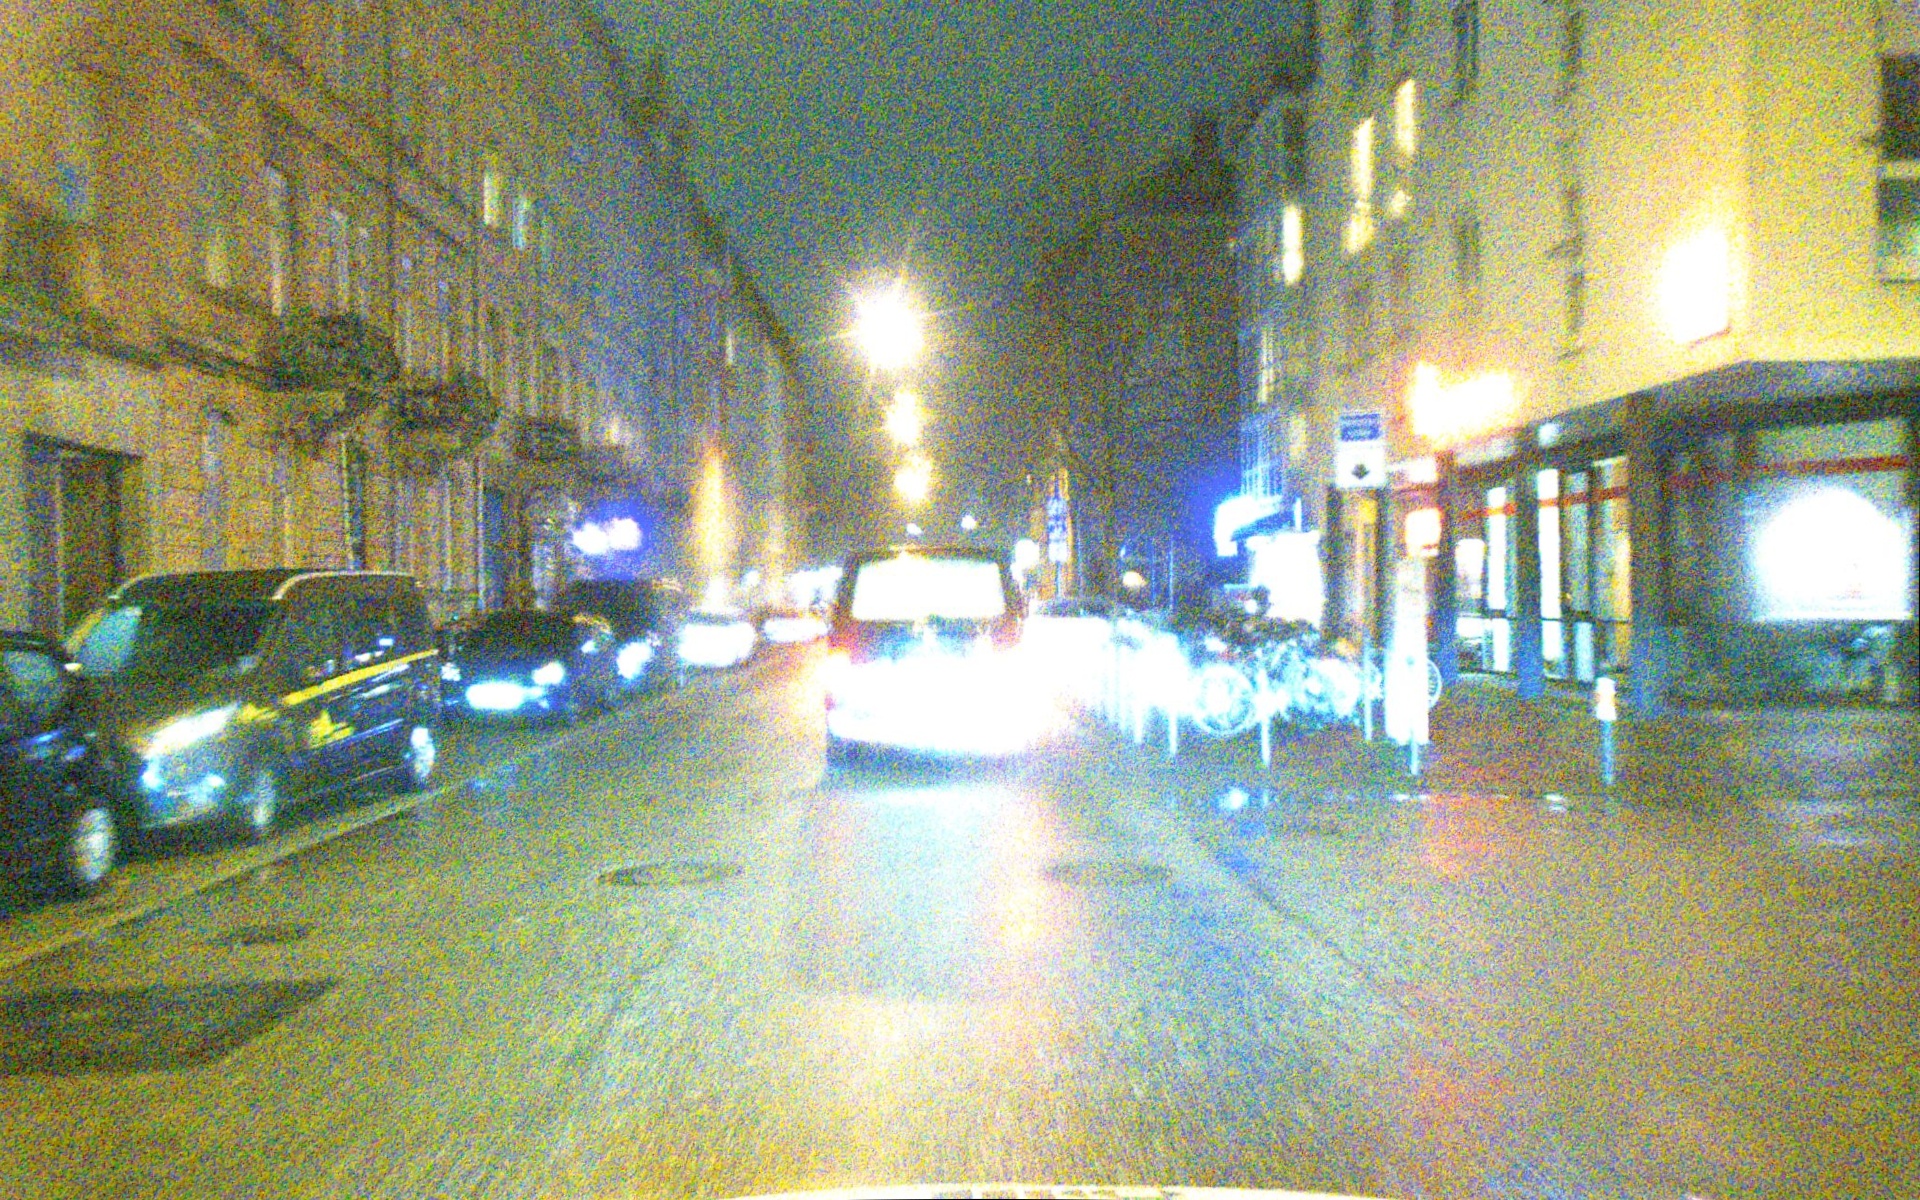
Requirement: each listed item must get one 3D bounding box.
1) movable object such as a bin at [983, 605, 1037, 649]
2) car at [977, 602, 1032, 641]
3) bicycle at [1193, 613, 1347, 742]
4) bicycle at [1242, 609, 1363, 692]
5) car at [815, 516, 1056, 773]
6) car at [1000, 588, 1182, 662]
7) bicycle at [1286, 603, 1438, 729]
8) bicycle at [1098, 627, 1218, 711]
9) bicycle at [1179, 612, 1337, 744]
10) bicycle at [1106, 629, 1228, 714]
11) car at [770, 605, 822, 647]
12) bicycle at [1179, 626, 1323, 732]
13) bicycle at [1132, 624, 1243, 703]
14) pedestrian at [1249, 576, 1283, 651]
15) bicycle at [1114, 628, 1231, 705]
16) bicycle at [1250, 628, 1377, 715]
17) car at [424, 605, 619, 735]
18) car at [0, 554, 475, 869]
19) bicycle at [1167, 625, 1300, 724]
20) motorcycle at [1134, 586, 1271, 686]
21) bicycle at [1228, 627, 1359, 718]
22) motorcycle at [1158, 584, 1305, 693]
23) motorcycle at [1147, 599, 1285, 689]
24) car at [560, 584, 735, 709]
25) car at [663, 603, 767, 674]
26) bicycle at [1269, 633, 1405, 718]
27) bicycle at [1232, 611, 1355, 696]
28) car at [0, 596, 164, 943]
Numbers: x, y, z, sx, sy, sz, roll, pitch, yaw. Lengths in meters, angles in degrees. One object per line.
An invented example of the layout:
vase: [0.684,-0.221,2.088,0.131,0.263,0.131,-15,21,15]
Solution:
movable object such as a bin: [1.661,0.891,55.013,1.327,1.454,1.185,0,0,-38]
car: [1.723,0.829,65.558,1.953,1.489,4.415,-1,0,-1]
bicycle: [3.372,0.835,18.032,1.499,1.223,0.366,-6,-1,-3]
bicycle: [4.726,0.695,22.846,1.500,0.968,0.366,-6,-1,-5]
car: [-0.224,0.361,15.862,1.955,2.085,4.693,0,0,-1]
car: [3.341,0.644,42.692,4.422,1.557,1.779,-4,0,-2]
bicycle: [4.495,0.733,18.544,1.499,1.223,0.366,-6,-1,-3]
bicycle: [2.715,0.945,22.705,1.500,0.968,0.366,-6,-1,-5]
bicycle: [3.161,0.823,17.576,1.498,1.223,0.366,-6,-1,1]
bicycle: [2.780,0.959,22.267,1.500,0.968,0.366,-6,-1,-5]
car: [-6.142,0.940,62.107,1.638,1.517,3.720,1,0,-1]
bicycle: [3.368,0.906,19.163,1.499,1.041,0.366,-6,-1,-3]
bicycle: [3.312,0.920,24.105,1.497,0.968,0.366,-7,-1,6]
pedestrian: [7.636,0.338,41.278,0.688,1.819,0.624,-2,1,2]
bicycle: [3.168,0.991,24.735,1.635,0.968,0.366,-7,-1,6]
bicycle: [4.651,0.936,21.767,1.500,0.968,0.366,-6,-1,-5]
car: [-5.514,0.826,21.219,1.537,1.485,3.719,0,0,-1]
car: [-5.224,0.661,12.273,1.864,1.861,4.828,0,0,-1]
bicycle: [3.373,0.920,20.469,1.497,1.041,0.366,-6,-1,2]
motorcycle: [4.397,0.648,30.134,2.242,1.615,0.866,-5,-1,-2]
bicycle: [4.219,0.914,20.938,1.497,0.968,0.366,-6,-1,2]
motorcycle: [4.407,0.620,26.923,2.129,1.574,0.866,-5,-1,-2]
motorcycle: [4.355,0.748,28.256,2.129,1.341,0.866,-5,-1,-2]
car: [-5.044,0.696,27.448,1.955,1.861,5.206,0,0,-1]
car: [-5.775,0.863,39.471,1.731,1.509,4.771,3,0,0]
bicycle: [4.562,0.908,20.047,1.497,0.848,0.325,-7,-1,2]
bicycle: [4.501,0.725,22.338,1.500,0.968,0.366,-6,-1,-6]
car: [-5.283,0.790,7.372,1.691,1.602,3.719,0,0,-1]
